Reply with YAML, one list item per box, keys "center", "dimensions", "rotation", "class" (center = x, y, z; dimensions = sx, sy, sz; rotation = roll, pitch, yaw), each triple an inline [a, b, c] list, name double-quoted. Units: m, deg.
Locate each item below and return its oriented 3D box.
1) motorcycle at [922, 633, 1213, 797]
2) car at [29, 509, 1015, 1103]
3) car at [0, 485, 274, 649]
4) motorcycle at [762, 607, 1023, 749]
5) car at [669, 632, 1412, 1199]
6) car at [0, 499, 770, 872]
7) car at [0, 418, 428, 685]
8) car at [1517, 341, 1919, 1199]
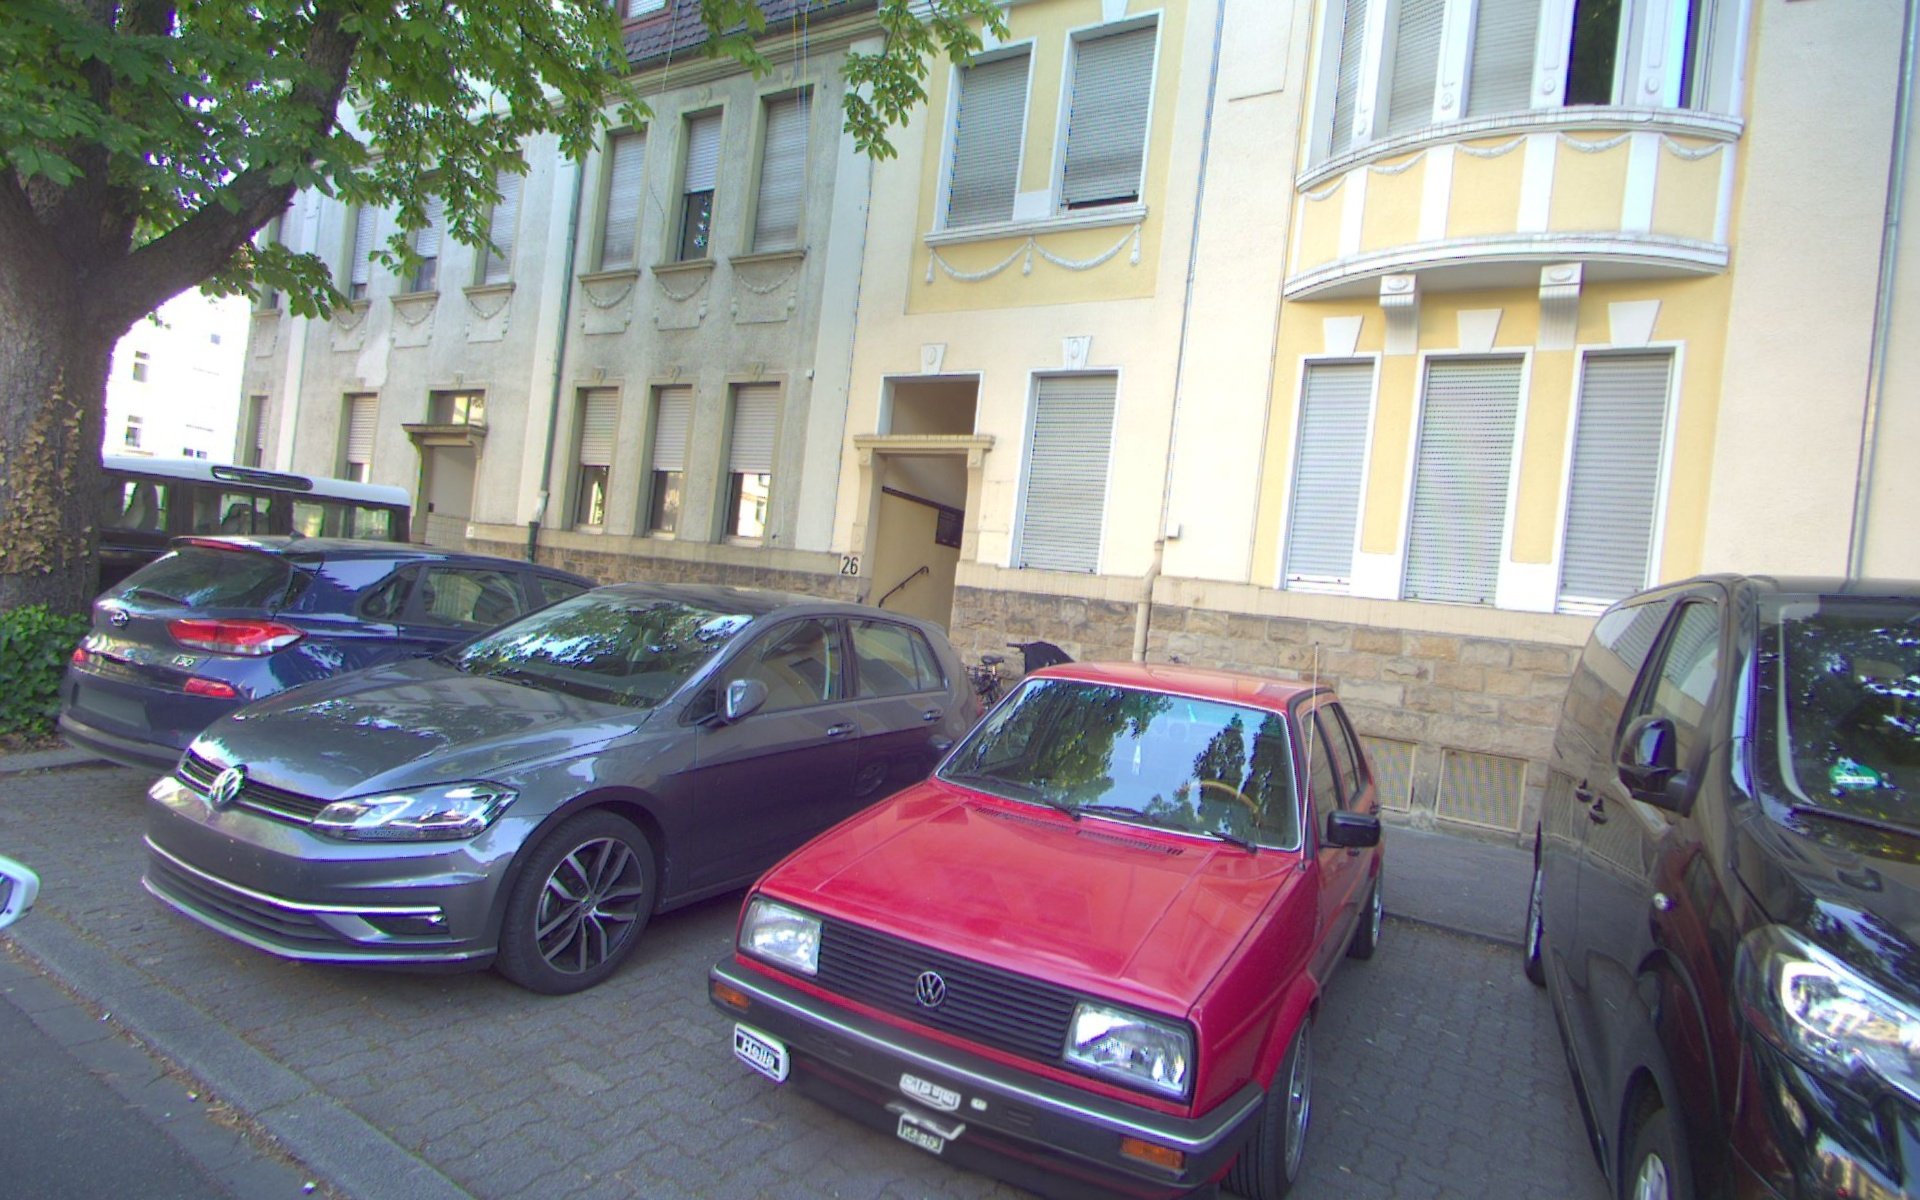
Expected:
- center: [0.965, 0.995, 9.390]
  dimensions: [2.439, 1.087, 0.959]
  rotation: [7, 2, 32]
  class: "motorcycle"
- center: [-1.422, 0.620, 4.812]
  dimensions: [1.693, 1.470, 4.060]
  rotation: [6, 0, 28]
  class: "car"
- center: [-9.978, -0.387, 10.932]
  dimensions: [1.679, 1.589, 3.730]
  rotation: [6, 0, 28]
  class: "car"
- center: [-0.780, 0.774, 10.780]
  dimensions: [2.822, 1.087, 0.694]
  rotation: [7, 2, 31]
  class: "motorcycle"
- center: [0.885, 0.944, 4.300]
  dimensions: [1.601, 1.332, 4.144]
  rotation: [6, 0, 27]
  class: "car"
- center: [-3.076, 0.424, 6.194]
  dimensions: [1.679, 1.470, 3.730]
  rotation: [6, 0, 28]
  class: "car"
- center: [-7.583, -0.370, 9.231]
  dimensions: [1.671, 2.061, 4.473]
  rotation: [6, 0, 28]
  class: "car"
- center: [2.862, 0.868, 2.873]
  dimensions: [1.864, 1.898, 4.759]
  rotation: [6, 0, 27]
  class: "car"
